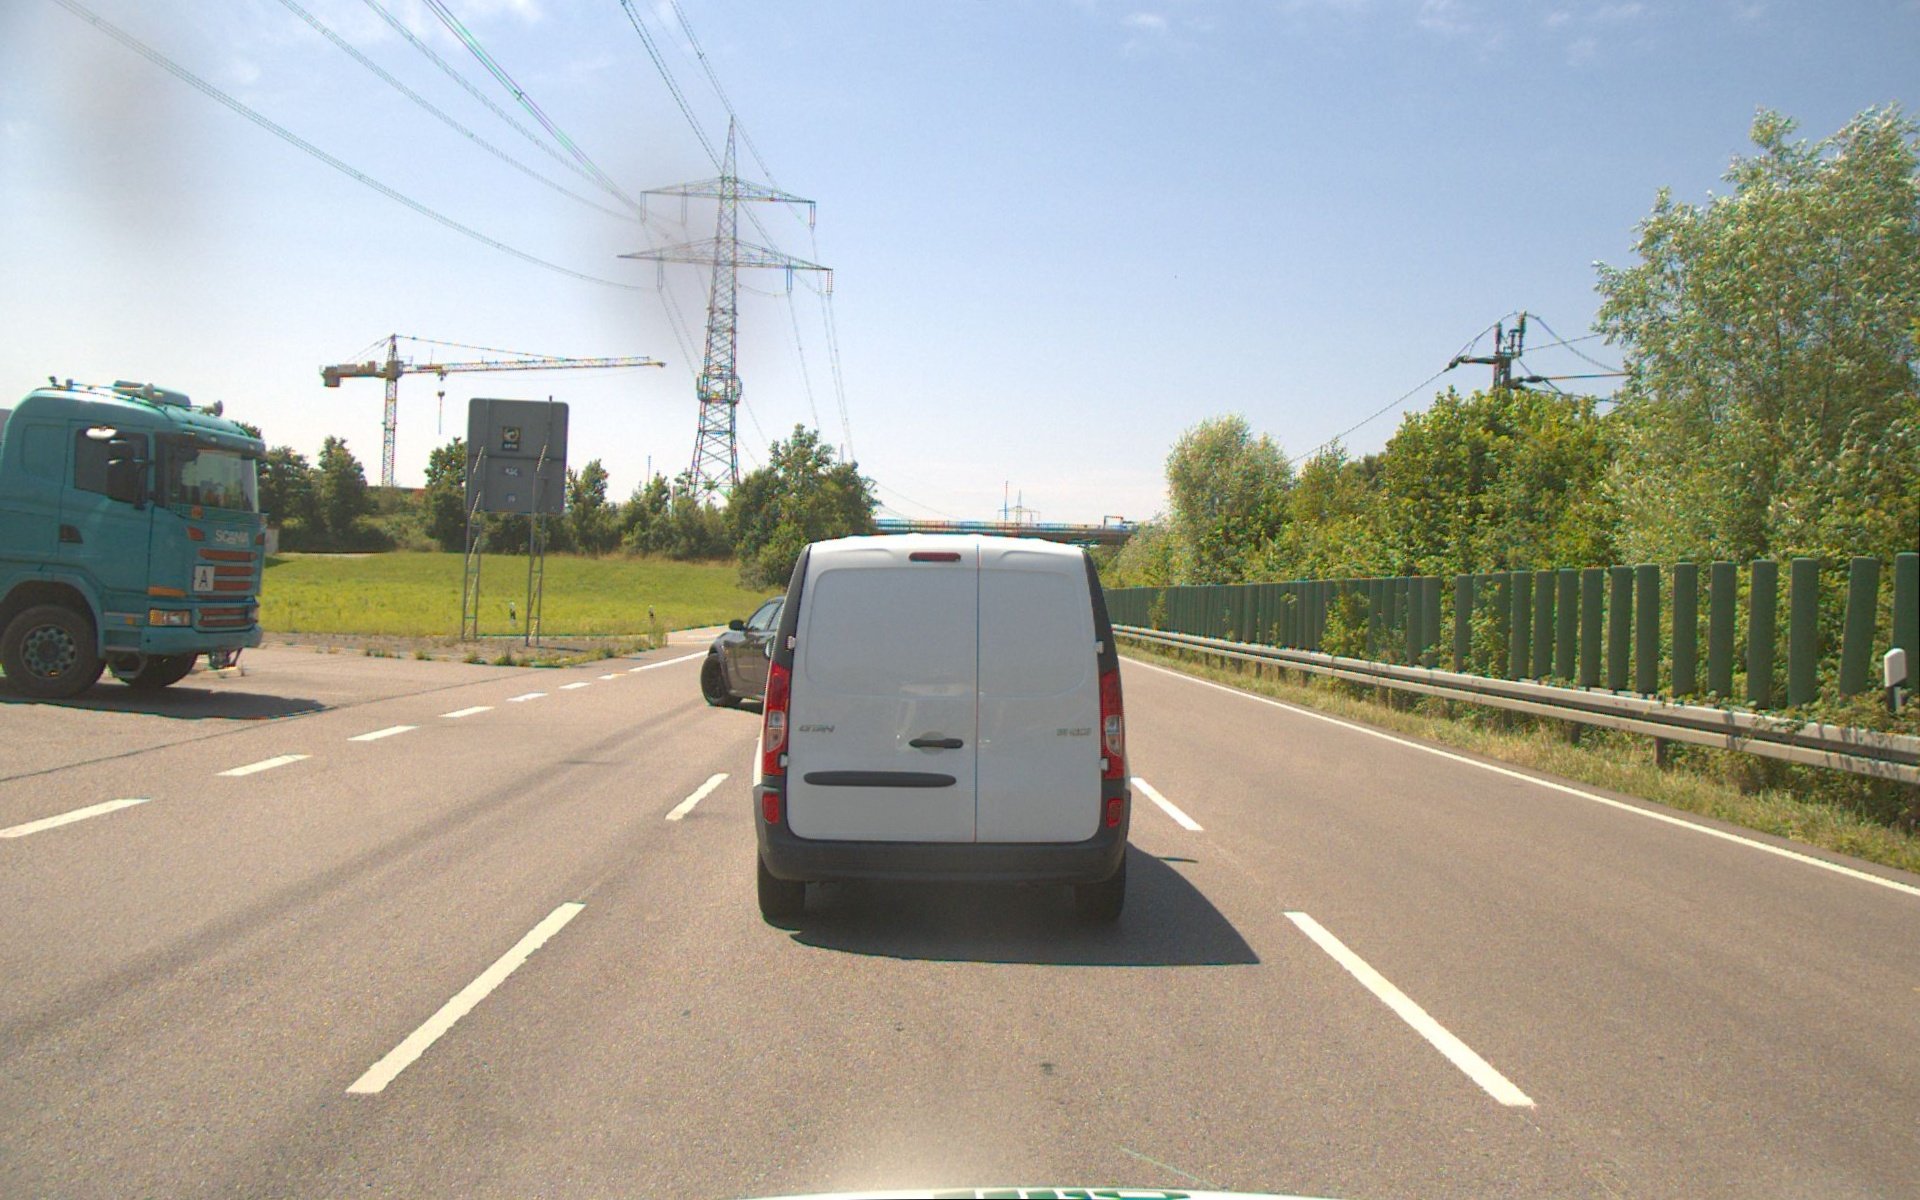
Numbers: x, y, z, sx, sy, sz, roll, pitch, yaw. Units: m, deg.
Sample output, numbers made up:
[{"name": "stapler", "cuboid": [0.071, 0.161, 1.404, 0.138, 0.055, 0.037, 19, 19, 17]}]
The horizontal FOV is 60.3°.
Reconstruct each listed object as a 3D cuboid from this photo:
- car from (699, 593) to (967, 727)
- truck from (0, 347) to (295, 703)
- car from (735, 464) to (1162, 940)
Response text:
[{"name": "car", "cuboid": [-1.720, 0.682, 20.574, 1.832, 1.421, 4.618, 2, 0, -24]}, {"name": "truck", "cuboid": [-12.346, -1.010, 19.540, 7.742, 3.799, 2.498, 4, 0, 1]}, {"name": "car", "cuboid": [-0.093, 0.434, 9.048, 1.790, 2.005, 3.999, 1, 0, -2]}]
